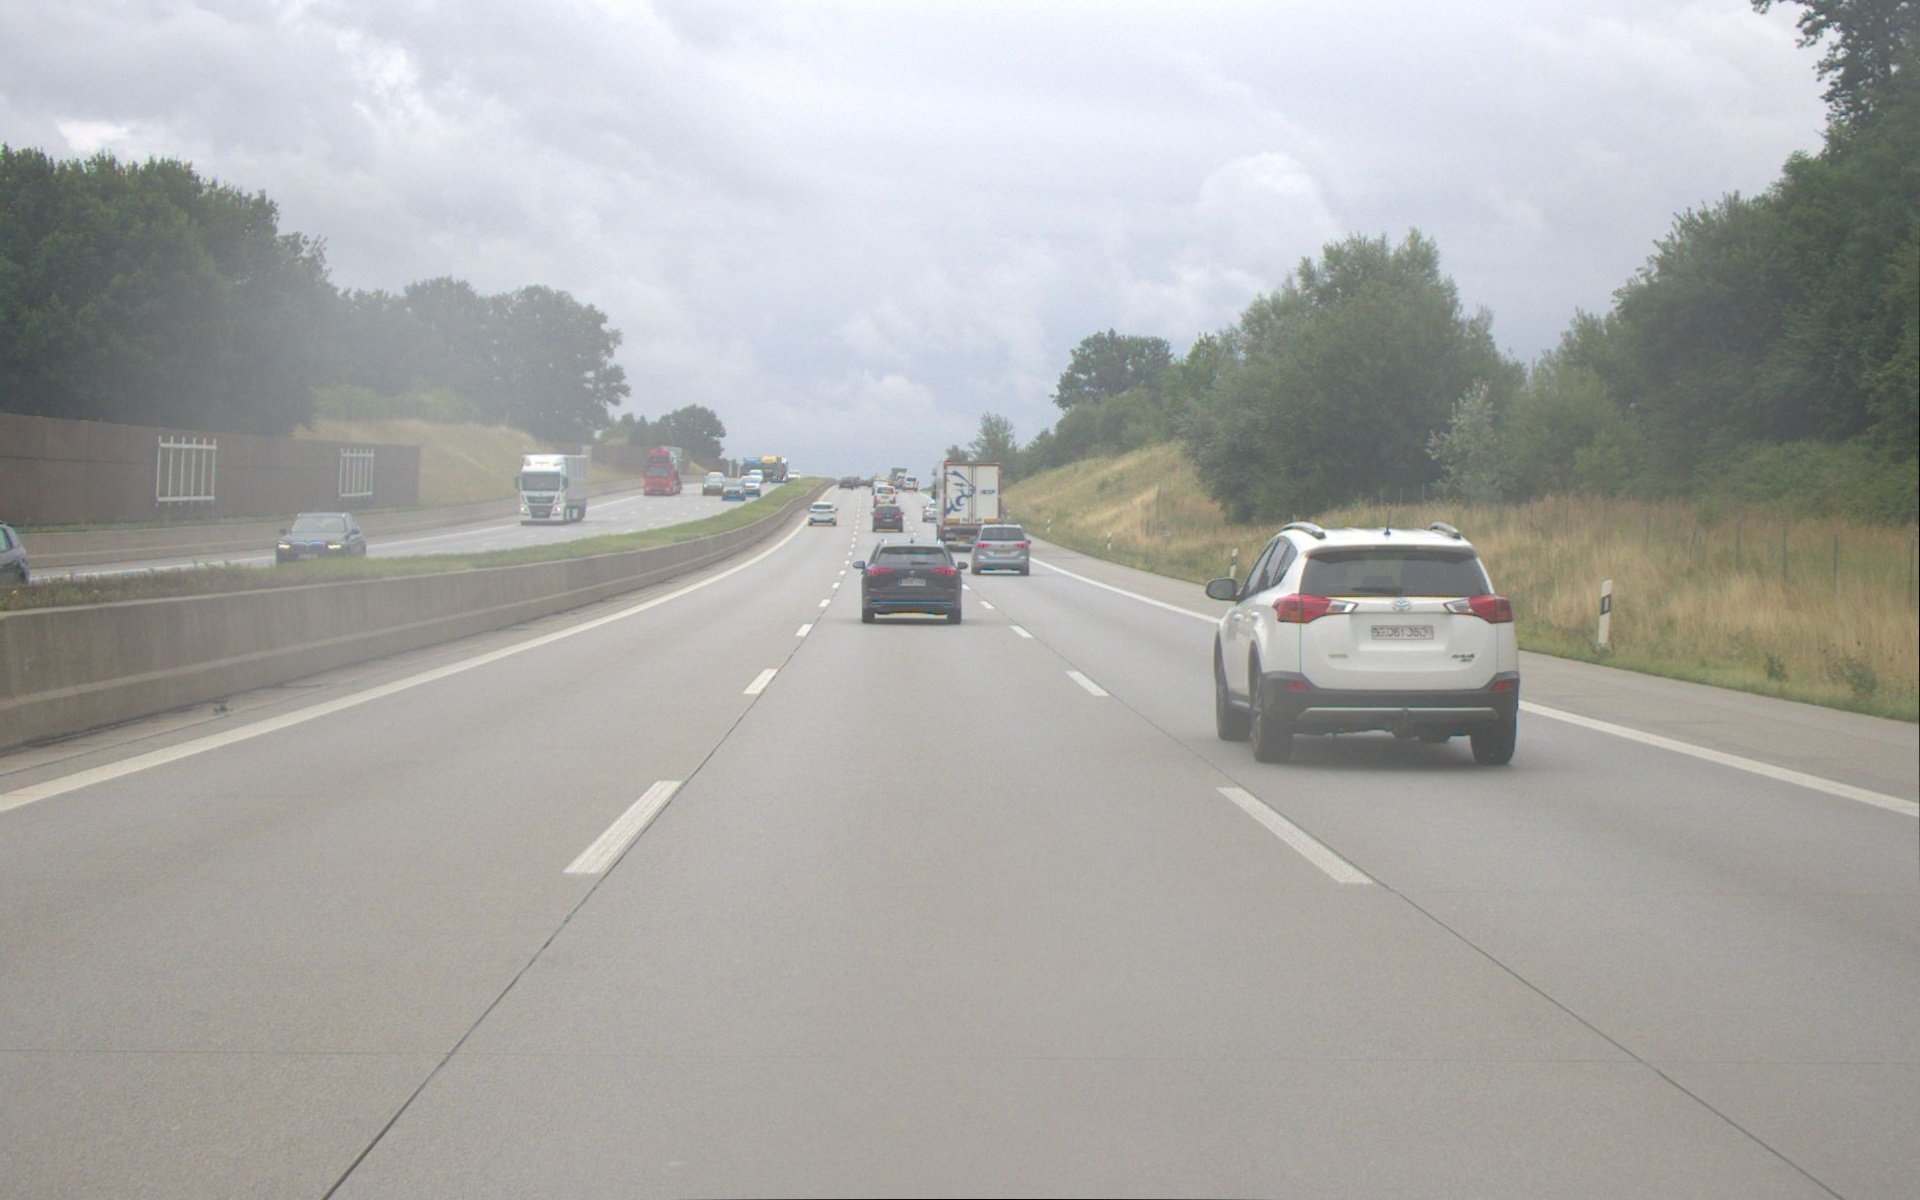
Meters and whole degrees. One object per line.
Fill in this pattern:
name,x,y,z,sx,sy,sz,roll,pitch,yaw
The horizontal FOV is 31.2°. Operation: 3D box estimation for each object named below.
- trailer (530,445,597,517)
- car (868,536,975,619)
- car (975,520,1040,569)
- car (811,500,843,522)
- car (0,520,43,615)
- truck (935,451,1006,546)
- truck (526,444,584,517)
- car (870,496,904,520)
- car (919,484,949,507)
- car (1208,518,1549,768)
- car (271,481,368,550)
trailer,-23.540,-7.009,204.645,2.696,4.081,14.008,1,2,-2
car,-0.711,-0.421,60.546,1.752,1.393,4.485,1,1,-2
car,1.513,-1.783,110.196,1.993,1.525,4.000,1,1,0
car,-8.741,-5.860,225.964,1.947,1.351,4.260,1,2,0
car,-16.122,-0.535,55.393,1.636,1.495,4.519,1,1,-3
truck,0.436,-4.626,157.284,3.017,4.166,8.355,1,1,-1
truck,-23.329,-6.844,198.115,2.682,4.069,6.217,1,1,-1
car,-4.421,-5.570,208.608,1.935,1.370,4.594,1,0,0
car,-1.855,-7.469,245.667,1.993,1.634,4.000,1,1,1
car,2.942,0.255,24.958,1.825,1.650,3.985,1,1,-2
car,-17.037,-2.241,91.626,1.816,1.761,4.733,1,1,-2
